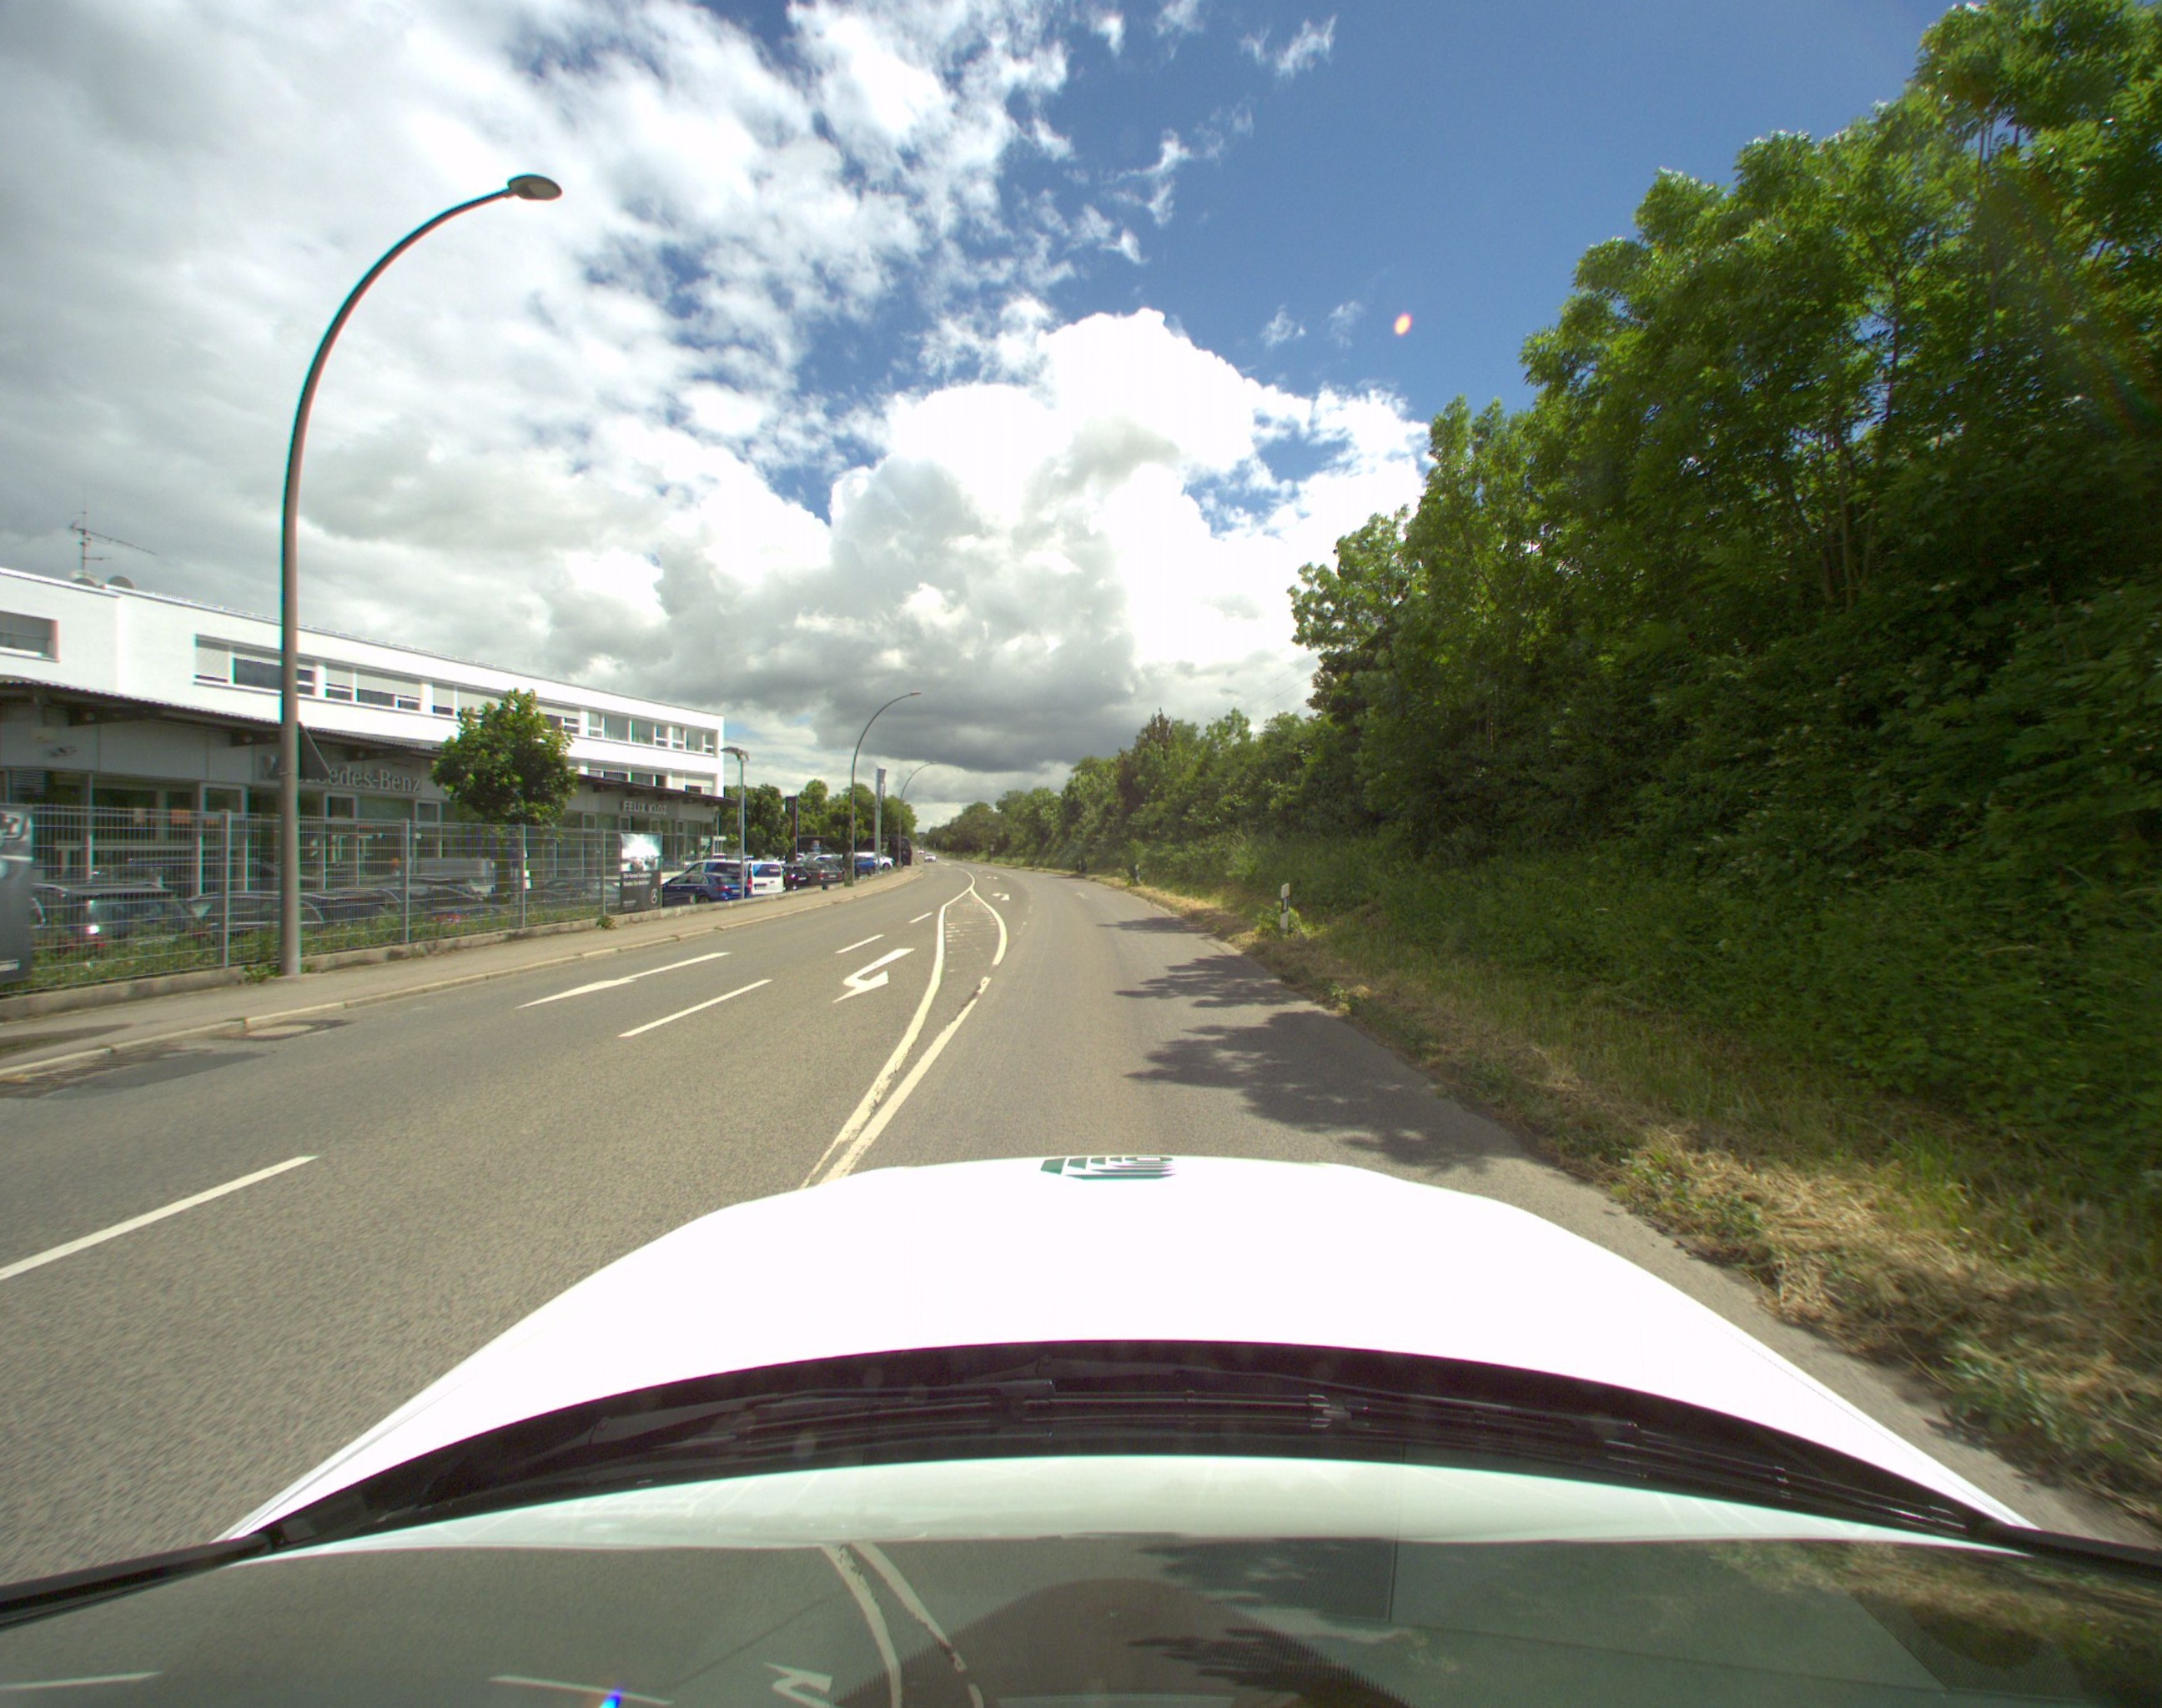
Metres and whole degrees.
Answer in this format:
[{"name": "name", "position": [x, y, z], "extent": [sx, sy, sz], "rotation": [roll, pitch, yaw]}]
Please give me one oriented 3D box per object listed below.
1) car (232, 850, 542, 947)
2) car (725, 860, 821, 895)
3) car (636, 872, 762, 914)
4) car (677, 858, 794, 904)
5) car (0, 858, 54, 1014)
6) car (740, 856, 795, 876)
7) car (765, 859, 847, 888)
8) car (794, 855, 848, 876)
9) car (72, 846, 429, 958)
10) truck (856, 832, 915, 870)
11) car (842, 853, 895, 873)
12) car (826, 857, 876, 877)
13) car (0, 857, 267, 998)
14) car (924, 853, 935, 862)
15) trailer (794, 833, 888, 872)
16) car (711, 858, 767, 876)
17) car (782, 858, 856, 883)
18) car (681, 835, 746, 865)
[{"name": "car", "position": [-13.214, 0.796, 15.720], "extent": [4.172, 1.701, 2.176], "rotation": [0, 0, 4]}, {"name": "car", "position": [-14.901, 1.106, 39.410], "extent": [4.153, 1.601, 1.992], "rotation": [0, 0, 26]}, {"name": "car", "position": [-13.815, 1.354, 29.454], "extent": [4.153, 1.350, 1.948], "rotation": [0, 0, 26]}, {"name": "car", "position": [-13.670, 1.011, 32.211], "extent": [3.938, 1.701, 2.186], "rotation": [0, 0, 26]}, {"name": "car", "position": [-13.863, 0.880, 8.232], "extent": [4.176, 1.701, 2.174], "rotation": [0, 0, 1]}, {"name": "car", "position": [-26.326, 0.985, 68.519], "extent": [1.975, 1.644, 4.023], "rotation": [0, 0, 27]}, {"name": "car", "position": [-15.034, 1.047, 44.544], "extent": [4.153, 1.479, 1.806], "rotation": [0, 0, 26]}, {"name": "car", "position": [-21.280, 0.908, 66.845], "extent": [1.975, 1.631, 4.023], "rotation": [0, 0, 27]}, {"name": "car", "position": [-13.323, 0.719, 13.235], "extent": [4.063, 1.665, 1.797], "rotation": [0, 0, 4]}, {"name": "truck", "position": [-22.398, -0.323, 93.356], "extent": [6.146, 4.093, 2.804], "rotation": [-2, 0, -24]}, {"name": "car", "position": [-19.824, 0.836, 75.919], "extent": [4.336, 1.763, 1.977], "rotation": [1, 0, -40]}, {"name": "car", "position": [-18.432, 1.021, 65.388], "extent": [1.610, 1.475, 4.023], "rotation": [0, 0, 27]}, {"name": "car", "position": [-13.714, 0.893, 10.918], "extent": [3.878, 1.701, 1.793], "rotation": [0, 0, 3]}, {"name": "car", "position": [-26.713, 0.669, 143.462], "extent": [1.994, 1.537, 3.985], "rotation": [0, 0, -11]}, {"name": "trailer", "position": [-26.826, -0.223, 91.253], "extent": [9.770, 4.093, 2.802], "rotation": [-2, 0, -25]}, {"name": "car", "position": [-28.896, 1.068, 68.905], "extent": [1.975, 1.455, 4.023], "rotation": [0, 0, 27]}, {"name": "car", "position": [-15.490, 0.939, 48.205], "extent": [4.153, 1.401, 1.669], "rotation": [0, 0, 26]}, {"name": "car", "position": [-42.403, -0.453, 94.329], "extent": [3.185, 3.336, 8.192], "rotation": [0, 0, 5]}]
